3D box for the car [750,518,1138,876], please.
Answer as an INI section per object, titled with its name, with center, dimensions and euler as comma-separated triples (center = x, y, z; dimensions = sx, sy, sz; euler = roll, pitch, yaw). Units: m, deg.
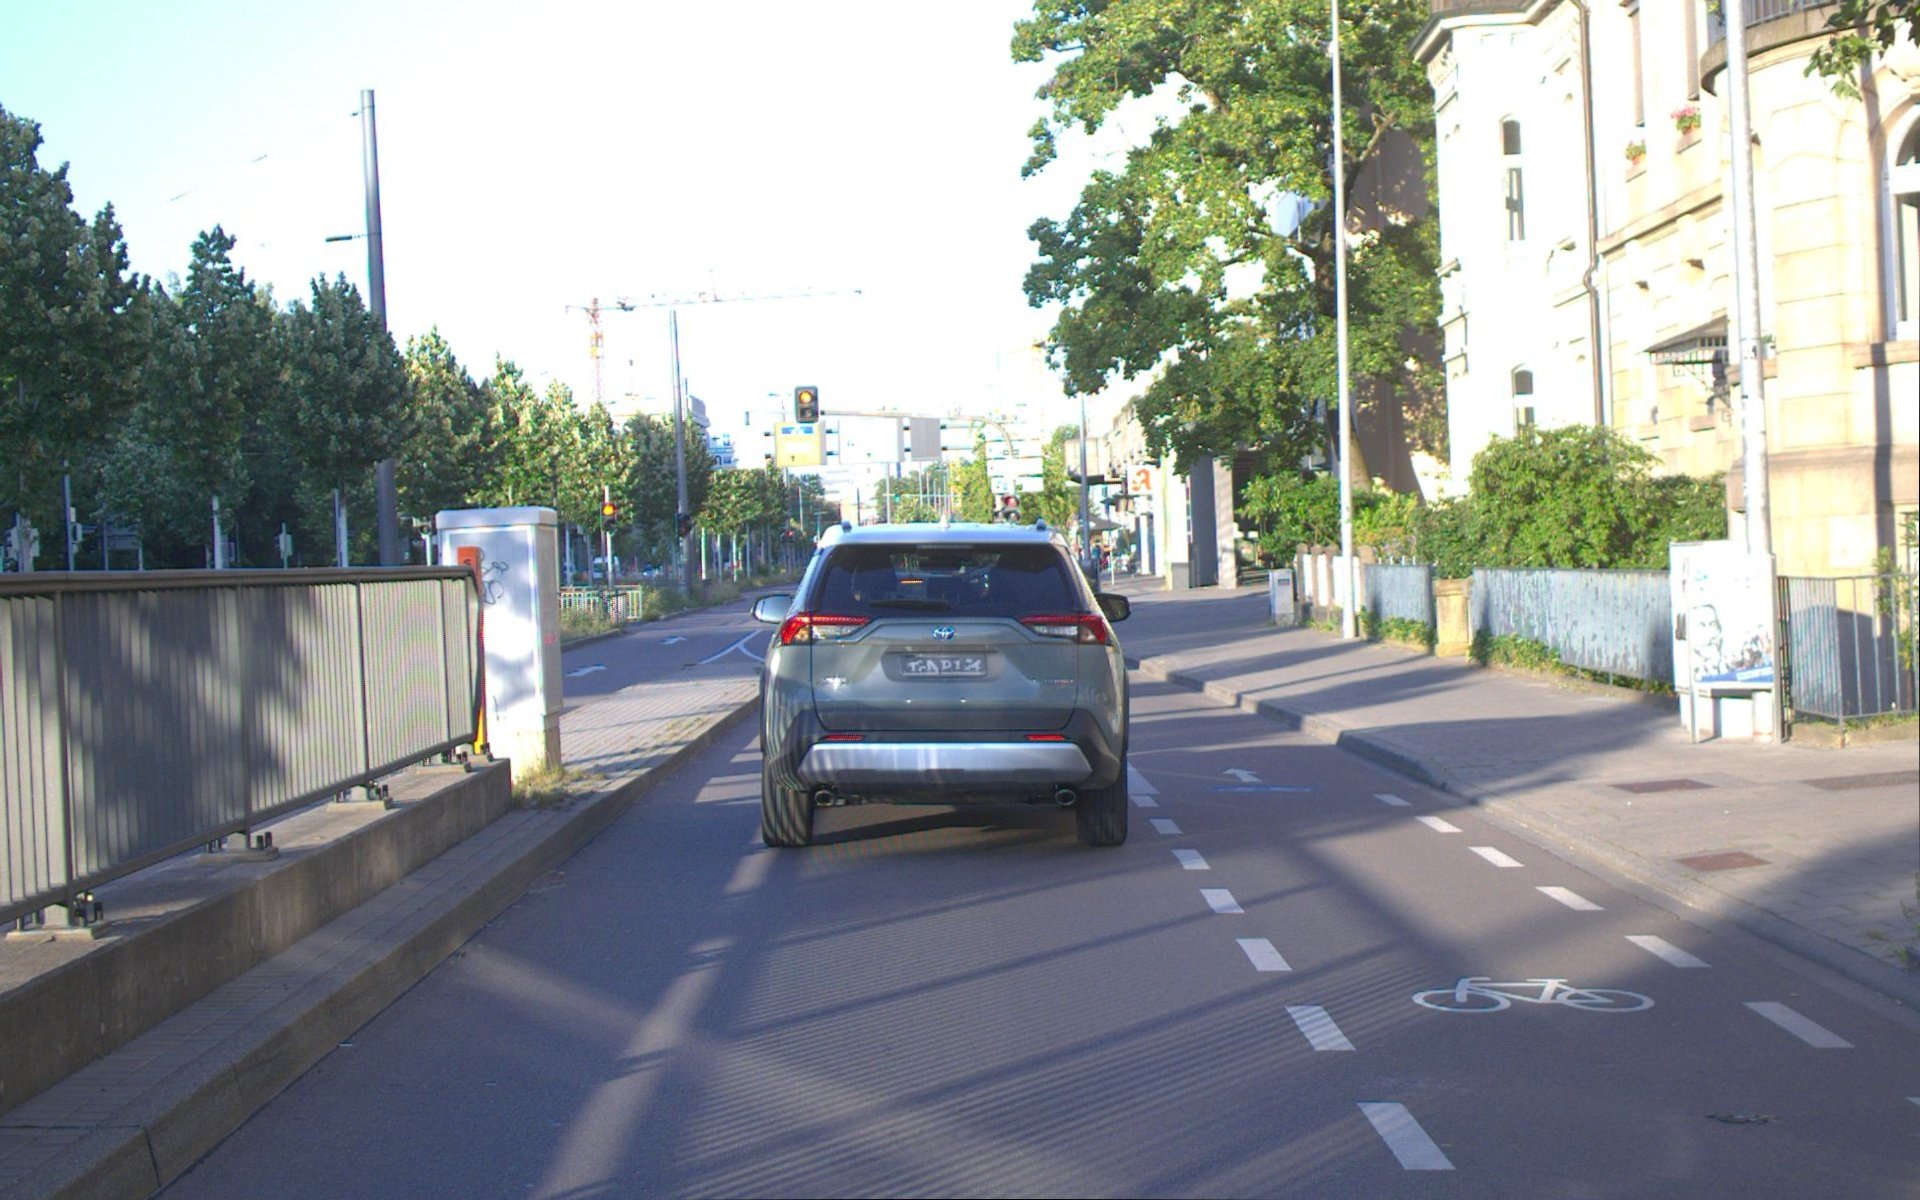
[car]
center = -0.147, 0.441, 18.589
dimensions = 1.857, 1.708, 4.193
euler = 0, 1, -2
